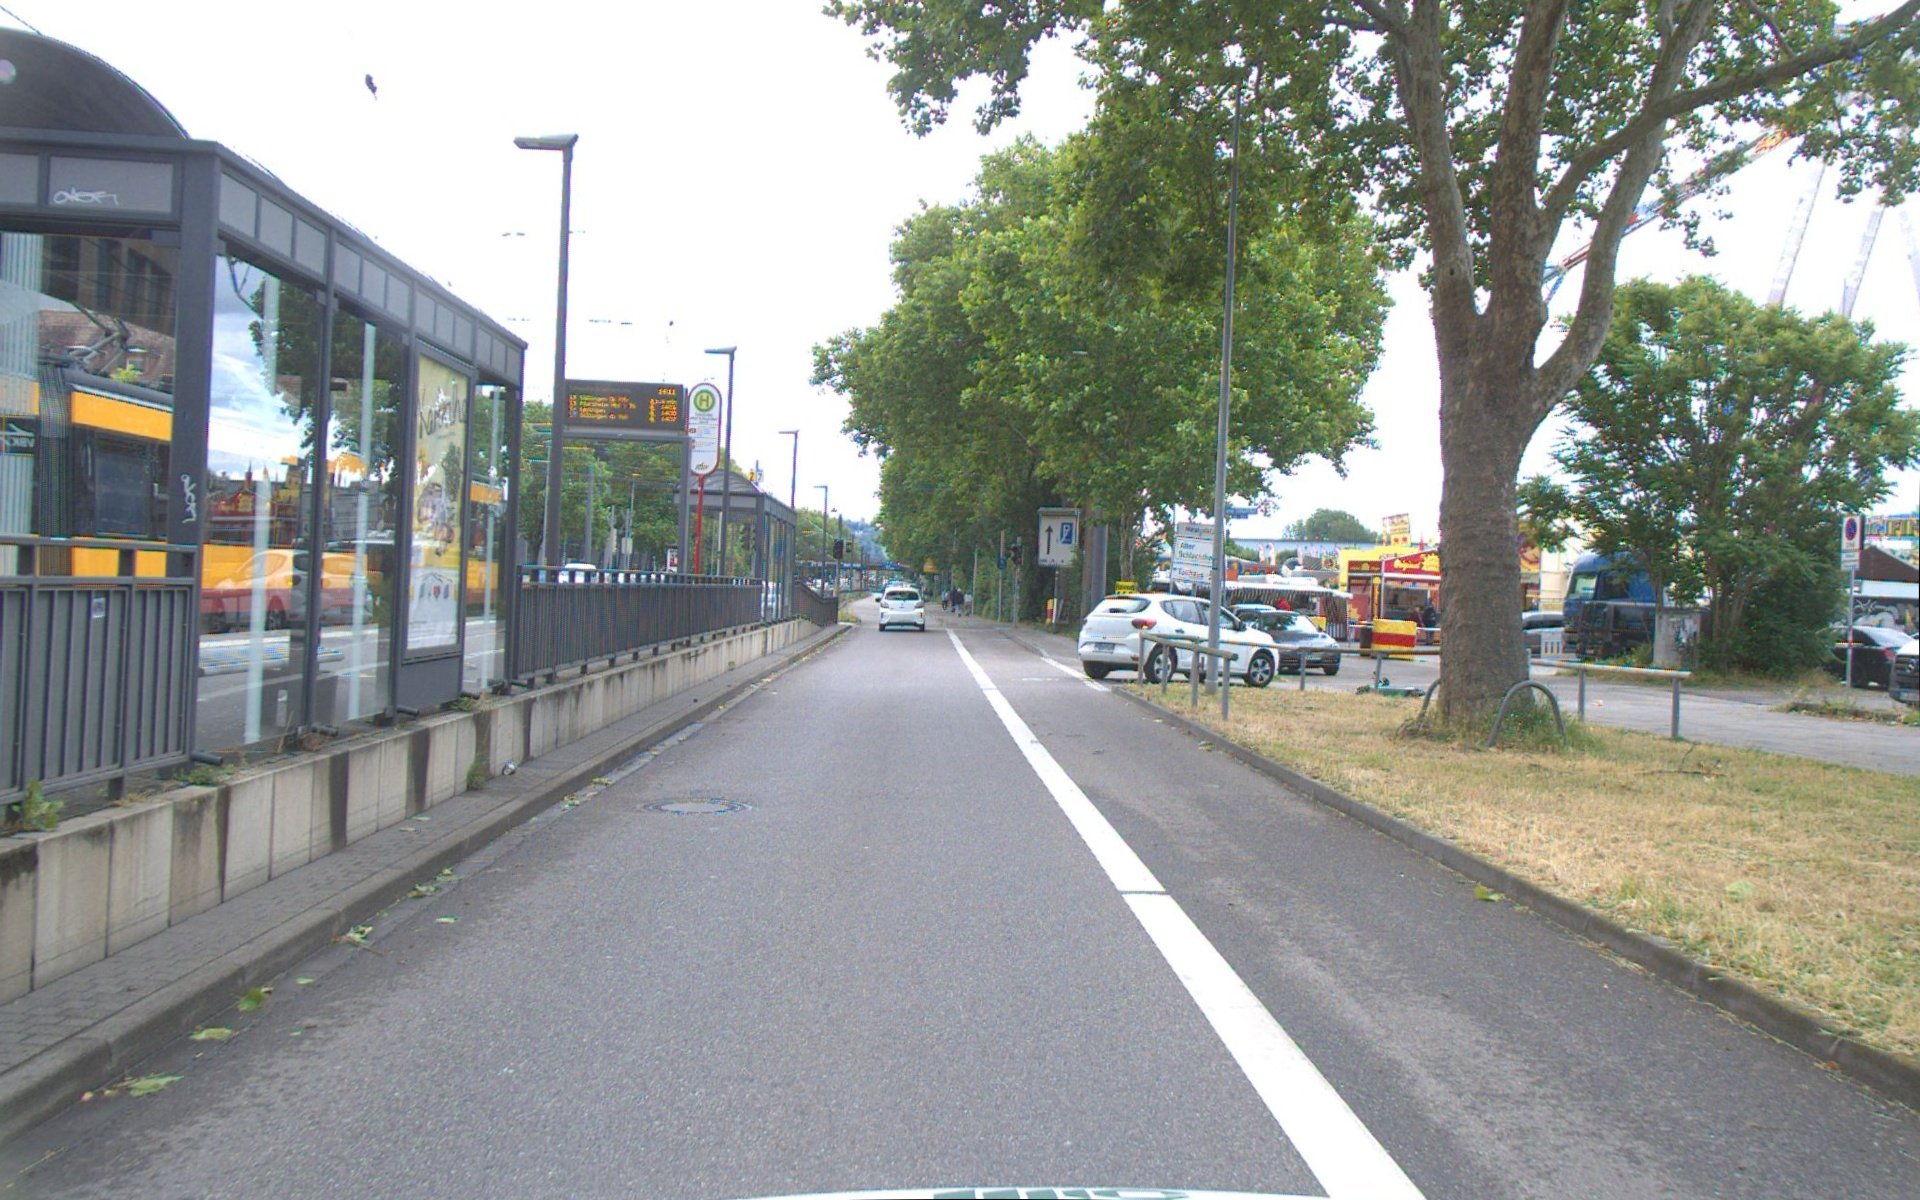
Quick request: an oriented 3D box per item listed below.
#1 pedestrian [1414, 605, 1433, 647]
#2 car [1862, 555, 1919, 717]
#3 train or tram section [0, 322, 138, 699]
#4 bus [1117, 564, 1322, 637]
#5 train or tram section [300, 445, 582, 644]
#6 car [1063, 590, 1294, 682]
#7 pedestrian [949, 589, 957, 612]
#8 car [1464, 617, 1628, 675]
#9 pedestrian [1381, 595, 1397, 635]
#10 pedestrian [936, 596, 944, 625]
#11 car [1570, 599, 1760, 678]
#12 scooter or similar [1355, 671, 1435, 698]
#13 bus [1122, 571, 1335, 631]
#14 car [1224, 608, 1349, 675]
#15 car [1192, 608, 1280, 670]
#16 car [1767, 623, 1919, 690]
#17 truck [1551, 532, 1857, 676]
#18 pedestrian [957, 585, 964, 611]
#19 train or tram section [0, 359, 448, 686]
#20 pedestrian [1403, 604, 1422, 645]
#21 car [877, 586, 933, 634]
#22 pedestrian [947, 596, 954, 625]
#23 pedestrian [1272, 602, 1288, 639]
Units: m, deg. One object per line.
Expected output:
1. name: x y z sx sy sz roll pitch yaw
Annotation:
1. pedestrian: 19.624 1.100 70.026 0.514 1.716 0.491 2 -1 -18
2. car: 18.279 0.689 27.083 5.904 2.600 2.098 2 -1 -4
3. train or tram section: -12.288 -1.077 14.450 3.116 4.252 14.728 2 0 -2
4. bus: 11.975 0.032 76.602 9.096 3.011 1.998 2 -1 -5
5. train or tram section: -13.137 -1.193 43.885 3.116 4.252 14.728 2 0 -2
6. car: 3.917 0.653 29.365 3.961 1.478 1.865 3 -1 -40
7. pedestrian: -0.445 0.028 104.566 0.388 1.470 0.563 2 -1 -3
8. car: 18.604 1.451 52.641 4.483 1.603 1.999 2 0 -4
9. pedestrian: 18.868 0.656 72.688 0.483 1.716 0.523 2 -1 -5
10. pedestrian: -1.430 0.768 118.778 0.387 2.049 0.403 2 -1 13
11. car: 19.768 1.061 46.494 4.483 2.048 1.999 1 1 -4
12. scooter or similar: 7.396 1.425 28.094 1.153 0.355 1.331 1 0 22
13. bus: 11.912 0.063 73.552 9.096 2.266 1.998 2 0 -5
14. car: 7.827 0.964 39.981 1.827 1.455 3.995 2 0 -6
15. car: 7.930 1.090 47.833 1.825 1.622 4.000 2 0 0
16. car: 21.590 1.348 40.070 1.848 1.373 3.997 5 0 -4
17. truck: 22.258 0.123 49.705 8.028 3.889 2.598 2 -1 -4
18. pedestrian: 0.036 -0.123 104.577 0.388 1.613 0.537 2 -1 -4
19. train or tram section: -12.726 -1.019 29.156 3.116 4.252 14.728 2 0 -2
20. pedestrian: 18.996 1.034 69.411 0.514 1.716 0.491 2 -1 -18
21. car: -1.894 0.324 57.859 1.803 1.579 3.999 2 0 -1
22. pedestrian: -0.682 0.741 118.700 0.387 2.049 0.403 2 -1 13
23. pedestrian: 13.016 0.832 67.248 0.483 1.488 0.523 2 -1 -5
